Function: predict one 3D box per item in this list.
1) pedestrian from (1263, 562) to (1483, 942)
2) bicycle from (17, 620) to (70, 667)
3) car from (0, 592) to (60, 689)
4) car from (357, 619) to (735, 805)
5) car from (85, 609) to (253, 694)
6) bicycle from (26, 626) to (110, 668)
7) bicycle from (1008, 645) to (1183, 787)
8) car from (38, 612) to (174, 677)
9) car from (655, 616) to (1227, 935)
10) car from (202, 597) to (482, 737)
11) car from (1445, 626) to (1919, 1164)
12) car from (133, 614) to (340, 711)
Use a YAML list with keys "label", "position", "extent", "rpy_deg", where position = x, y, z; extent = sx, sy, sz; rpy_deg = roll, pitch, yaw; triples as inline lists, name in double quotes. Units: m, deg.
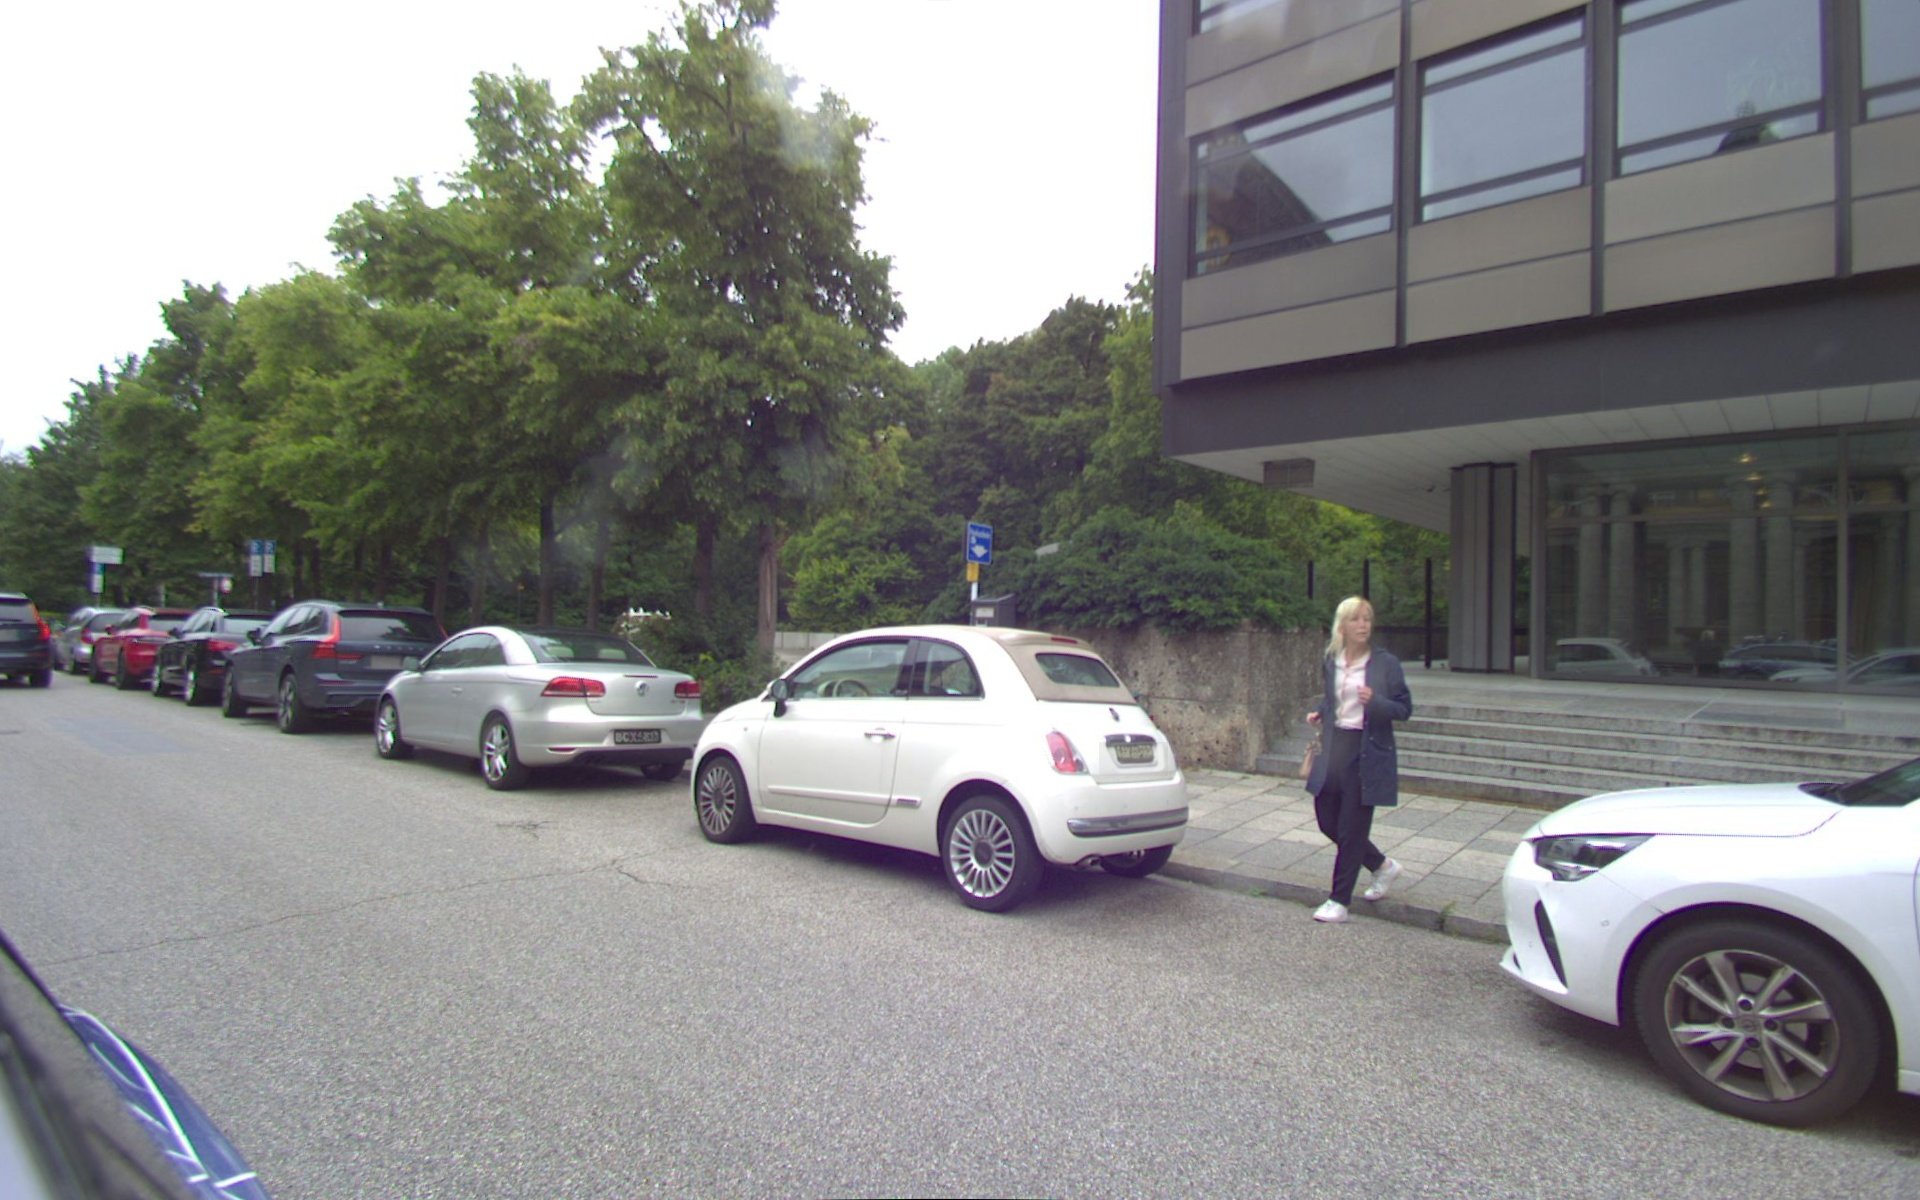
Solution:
- label: "pedestrian"
  position: [2.154, 0.739, 5.269]
  extent: [0.878, 1.765, 0.692]
  rpy_deg: [5, -5, -35]
- label: "bicycle"
  position: [-26.556, 1.237, 29.341]
  extent: [0.566, 1.292, 1.423]
  rpy_deg: [0, -1, -16]
- label: "car"
  position: [-18.920, 0.706, 19.229]
  extent: [4.907, 1.694, 1.940]
  rpy_deg: [0, -4, 40]
- label: "car"
  position: [-4.187, 0.961, 9.896]
  extent: [4.217, 1.411, 1.739]
  rpy_deg: [-1, -5, 43]
- label: "car"
  position: [-16.221, 0.995, 20.673]
  extent: [4.363, 1.555, 1.972]
  rpy_deg: [-1, -3, 42]
- label: "bicycle"
  position: [-25.184, 1.313, 28.592]
  extent: [0.597, 1.116, 1.681]
  rpy_deg: [0, -1, 33]
- label: "bicycle"
  position: [1.255, 1.045, 9.533]
  extent: [1.526, 1.173, 0.636]
  rpy_deg: [-1, 0, 40]
- label: "car"
  position: [-21.160, 1.066, 25.014]
  extent: [4.363, 1.472, 1.972]
  rpy_deg: [-1, -3, 42]
- label: "car"
  position: [-0.281, 0.882, 6.503]
  extent: [3.551, 1.482, 1.527]
  rpy_deg: [-1, -4, 41]
- label: "car"
  position: [-8.536, 0.826, 13.823]
  extent: [4.520, 1.595, 1.973]
  rpy_deg: [-1, -3, 41]
- label: "car"
  position: [3.874, 0.868, 2.796]
  extent: [4.278, 1.451, 1.663]
  rpy_deg: [0, -5, 42]
- label: "car"
  position: [-12.633, 1.002, 17.552]
  extent: [4.646, 1.472, 1.972]
  rpy_deg: [-1, -3, 42]
